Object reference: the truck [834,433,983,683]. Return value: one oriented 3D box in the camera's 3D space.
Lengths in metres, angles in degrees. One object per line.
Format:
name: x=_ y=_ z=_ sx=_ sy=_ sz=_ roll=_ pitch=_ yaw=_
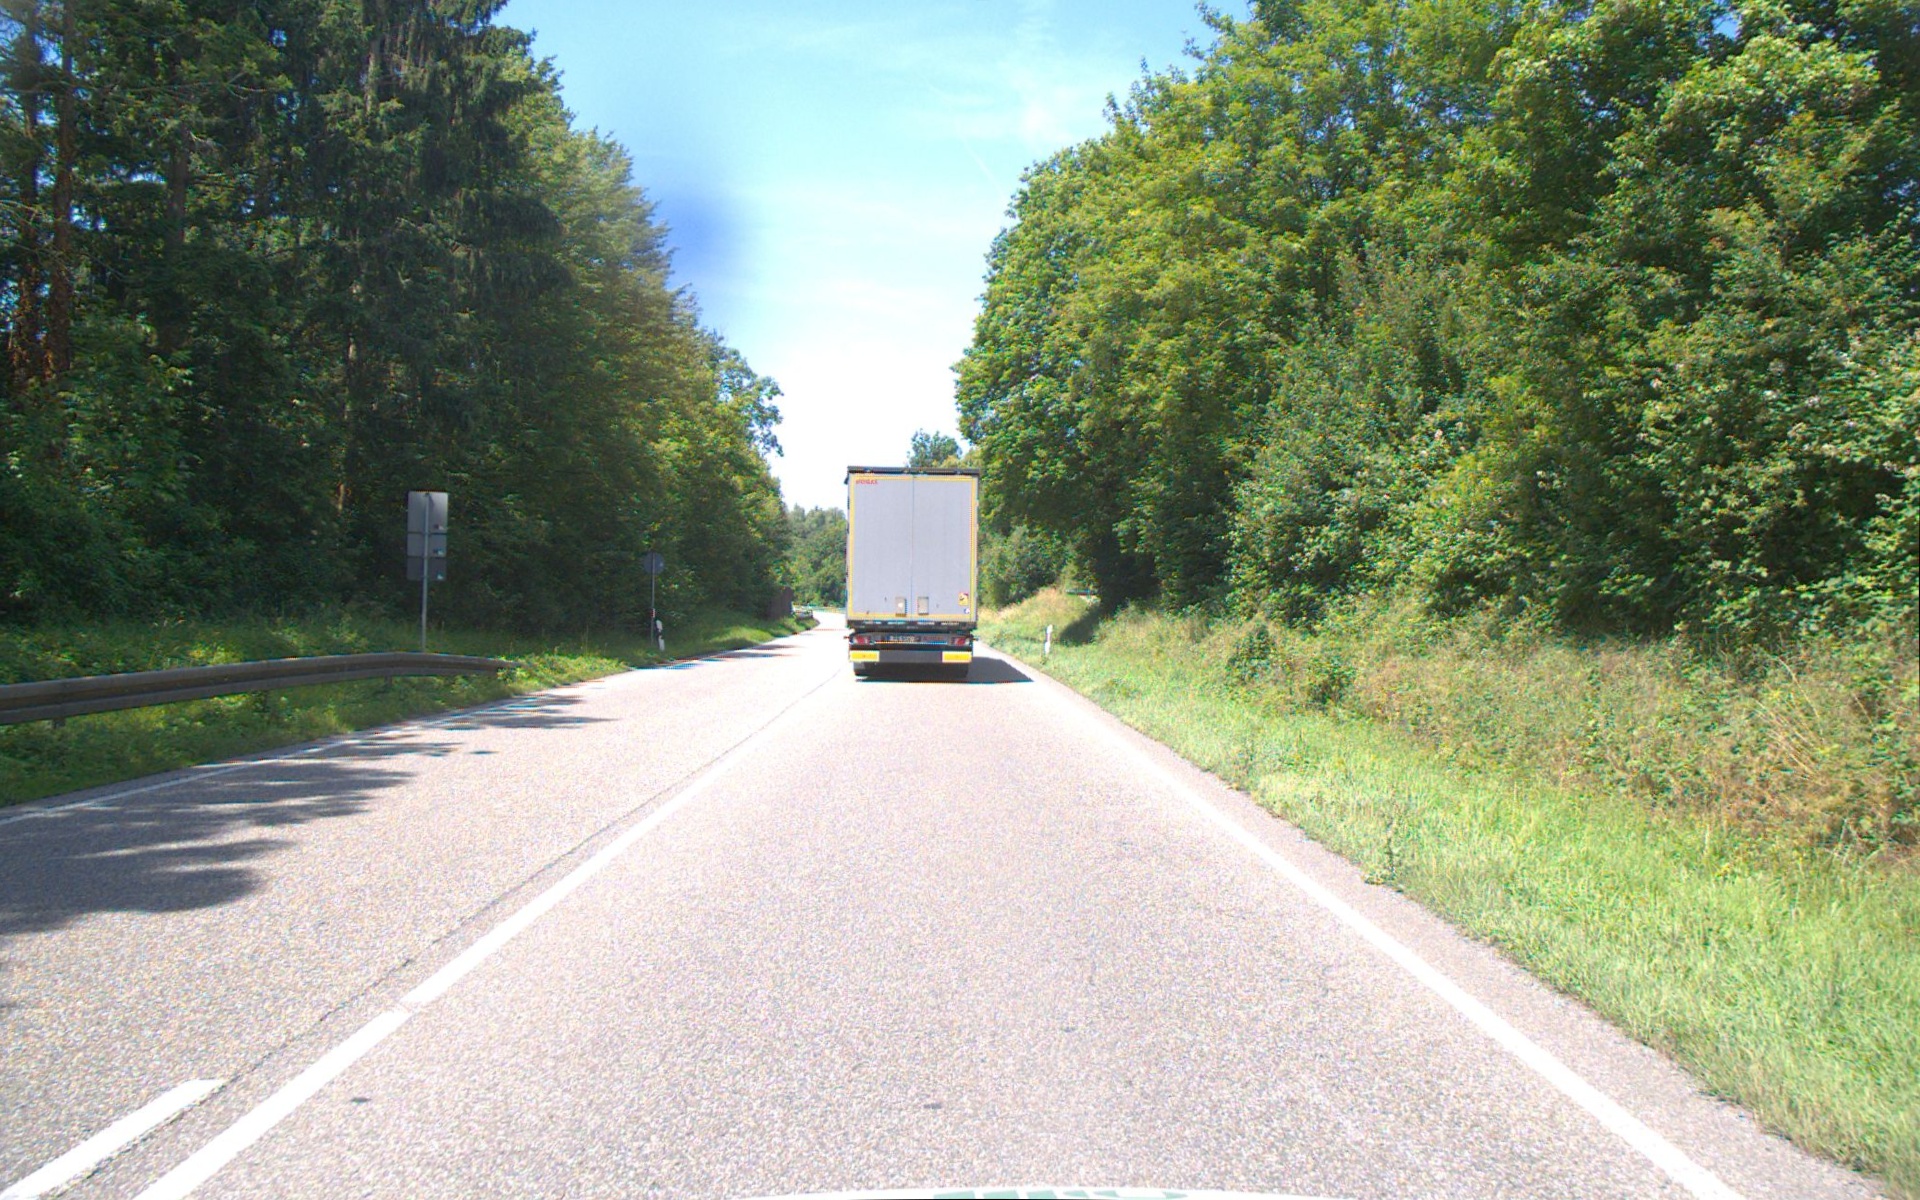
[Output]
truck: x=-0.957 y=-0.774 z=34.372 sx=2.765 sy=4.684 sz=6.665 roll=0 pitch=0 yaw=0
